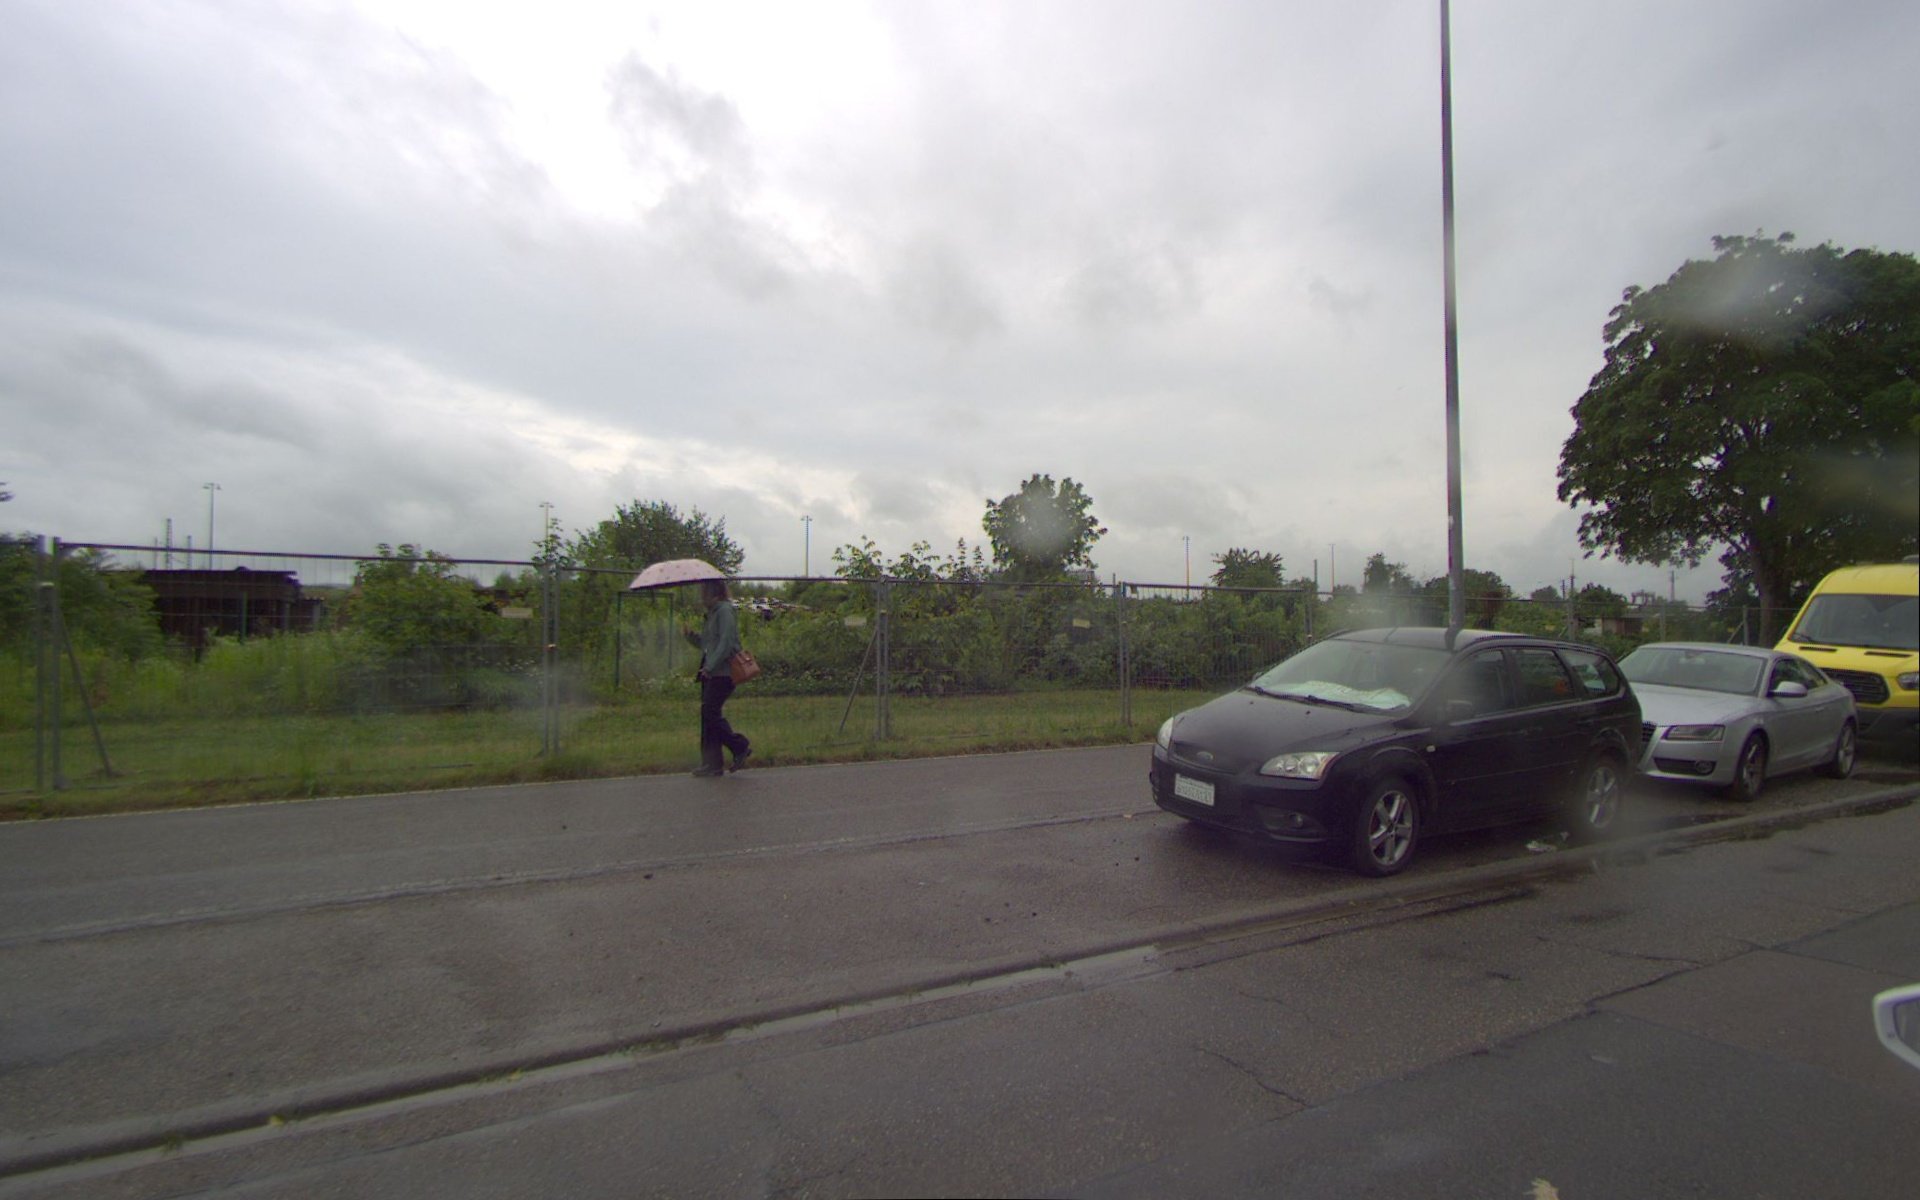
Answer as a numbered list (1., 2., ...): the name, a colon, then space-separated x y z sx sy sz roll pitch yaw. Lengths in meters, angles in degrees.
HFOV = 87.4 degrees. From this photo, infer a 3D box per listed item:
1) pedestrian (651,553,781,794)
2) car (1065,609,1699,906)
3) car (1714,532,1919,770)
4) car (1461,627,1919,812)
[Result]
1. pedestrian: -2.207 0.632 9.058 0.968 2.040 0.739 1 -1 -29
2. car: 3.397 0.939 7.756 4.961 1.615 1.983 1 0 -31
3. car: 13.193 0.618 13.845 6.006 2.730 2.182 1 0 -29
4. car: 7.830 1.083 10.622 5.278 1.453 2.000 1 1 -31
